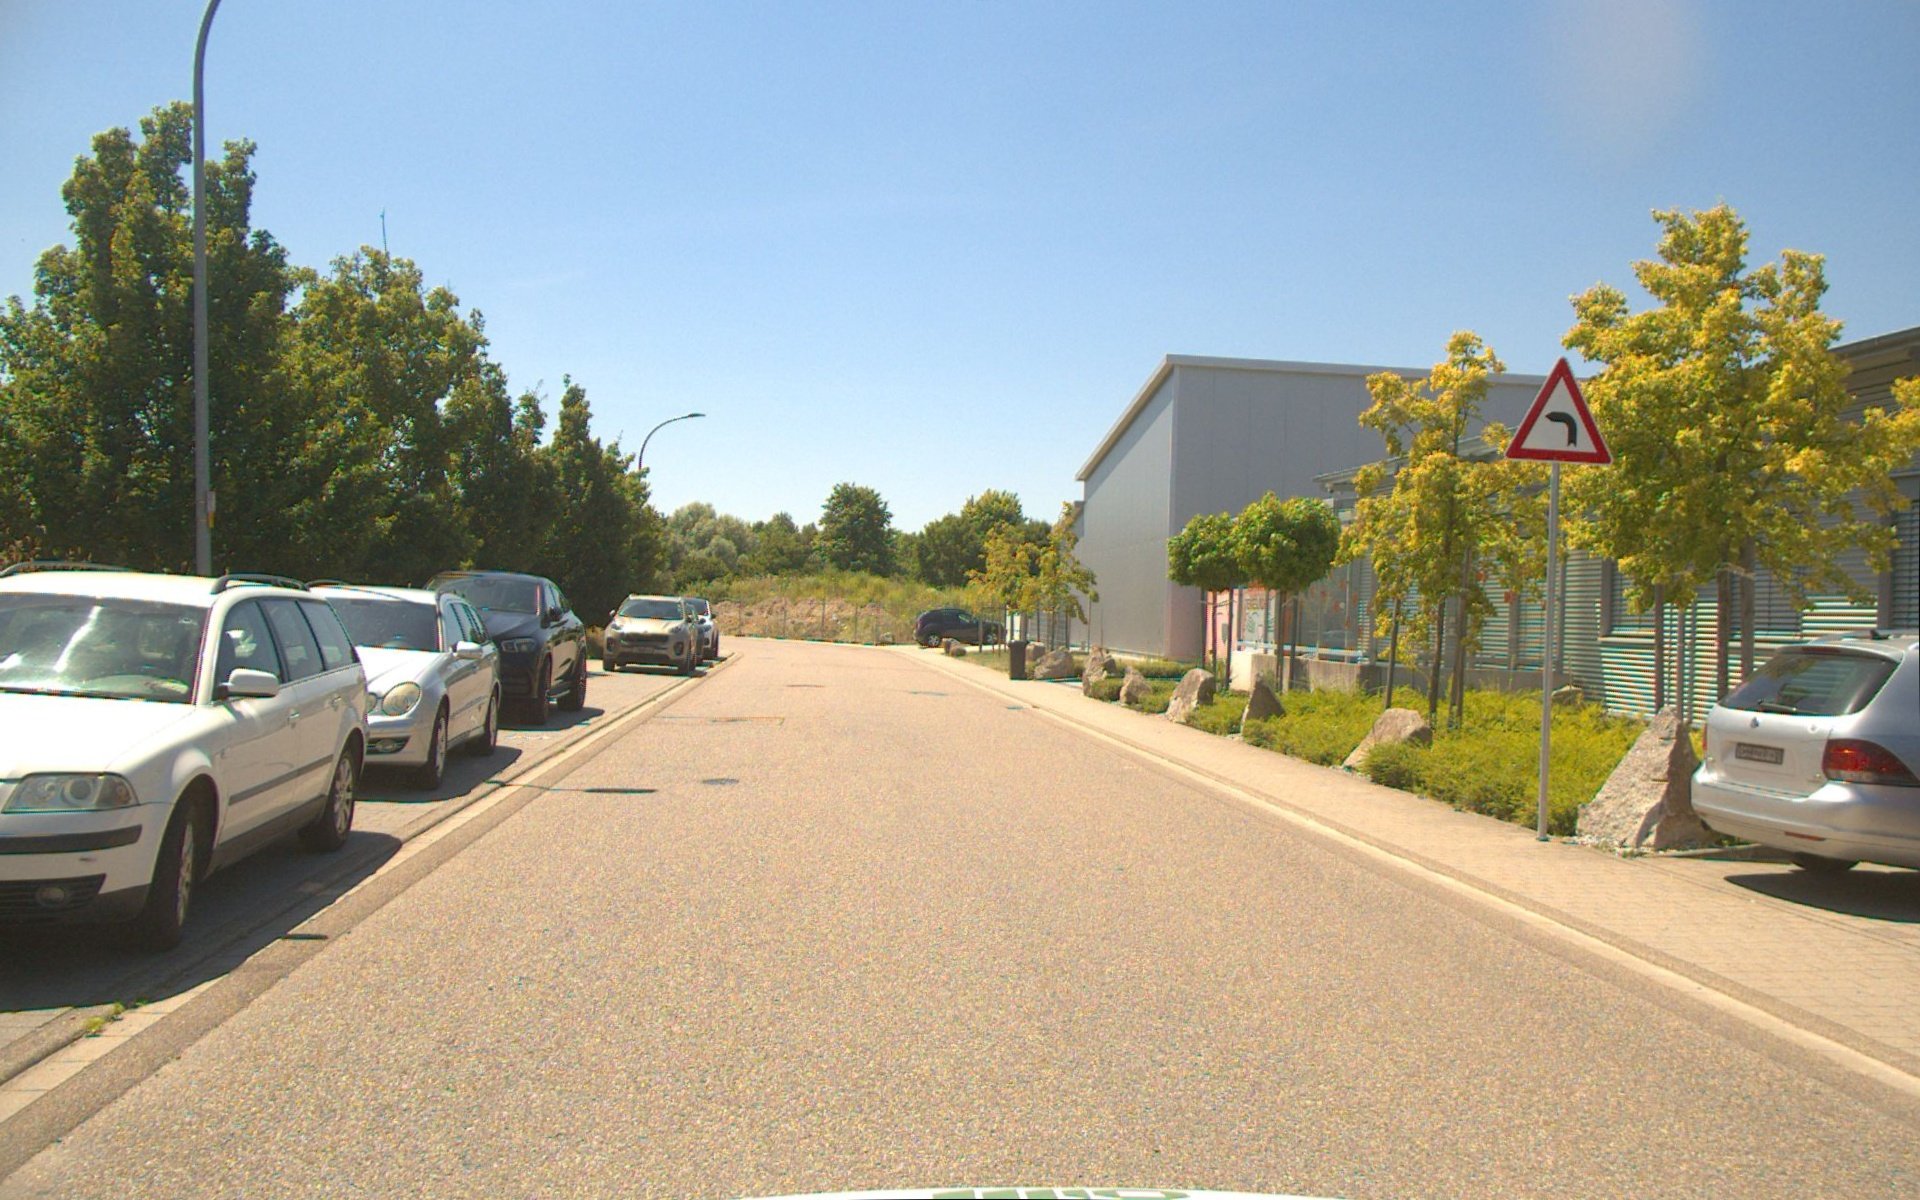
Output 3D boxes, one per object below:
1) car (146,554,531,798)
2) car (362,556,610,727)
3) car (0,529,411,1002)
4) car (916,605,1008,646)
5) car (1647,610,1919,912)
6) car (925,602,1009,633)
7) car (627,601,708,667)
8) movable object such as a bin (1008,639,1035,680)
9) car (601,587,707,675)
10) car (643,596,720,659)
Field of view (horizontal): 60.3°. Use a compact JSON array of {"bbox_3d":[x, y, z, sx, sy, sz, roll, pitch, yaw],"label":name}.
[{"bbox_3d":[-4.845,0.516,13.727,1.817,1.545,5.157,4,0,-8],"label":"car"},{"bbox_3d":[-5.686,0.464,20.512,1.953,1.743,5.001,4,0,-5],"label":"car"},{"bbox_3d":[-4.033,0.499,7.782,1.817,1.545,4.896,4,0,-8],"label":"car"},{"bbox_3d":[0.070,1.137,74.829,3.933,1.684,1.855,-2,0,-7],"label":"car"},{"bbox_3d":[6.554,0.893,9.775,4.195,1.568,1.911,1,0,-5],"label":"car"},{"bbox_3d":[0.318,0.868,81.151,3.933,1.487,1.890,0,0,-7],"label":"car"},{"bbox_3d":[-7.646,0.846,43.530,1.877,1.517,4.404,4,0,-8],"label":"car"},{"bbox_3d":[1.483,1.435,40.012,0.548,0.963,0.538,1,-1,-7],"label":"movable object such as a bin"},{"bbox_3d":[-6.766,0.655,36.964,1.876,1.743,4.407,4,0,-6],"label":"car"},{"bbox_3d":[-8.189,0.785,48.958,1.876,1.684,4.748,3,0,-6],"label":"car"}]
